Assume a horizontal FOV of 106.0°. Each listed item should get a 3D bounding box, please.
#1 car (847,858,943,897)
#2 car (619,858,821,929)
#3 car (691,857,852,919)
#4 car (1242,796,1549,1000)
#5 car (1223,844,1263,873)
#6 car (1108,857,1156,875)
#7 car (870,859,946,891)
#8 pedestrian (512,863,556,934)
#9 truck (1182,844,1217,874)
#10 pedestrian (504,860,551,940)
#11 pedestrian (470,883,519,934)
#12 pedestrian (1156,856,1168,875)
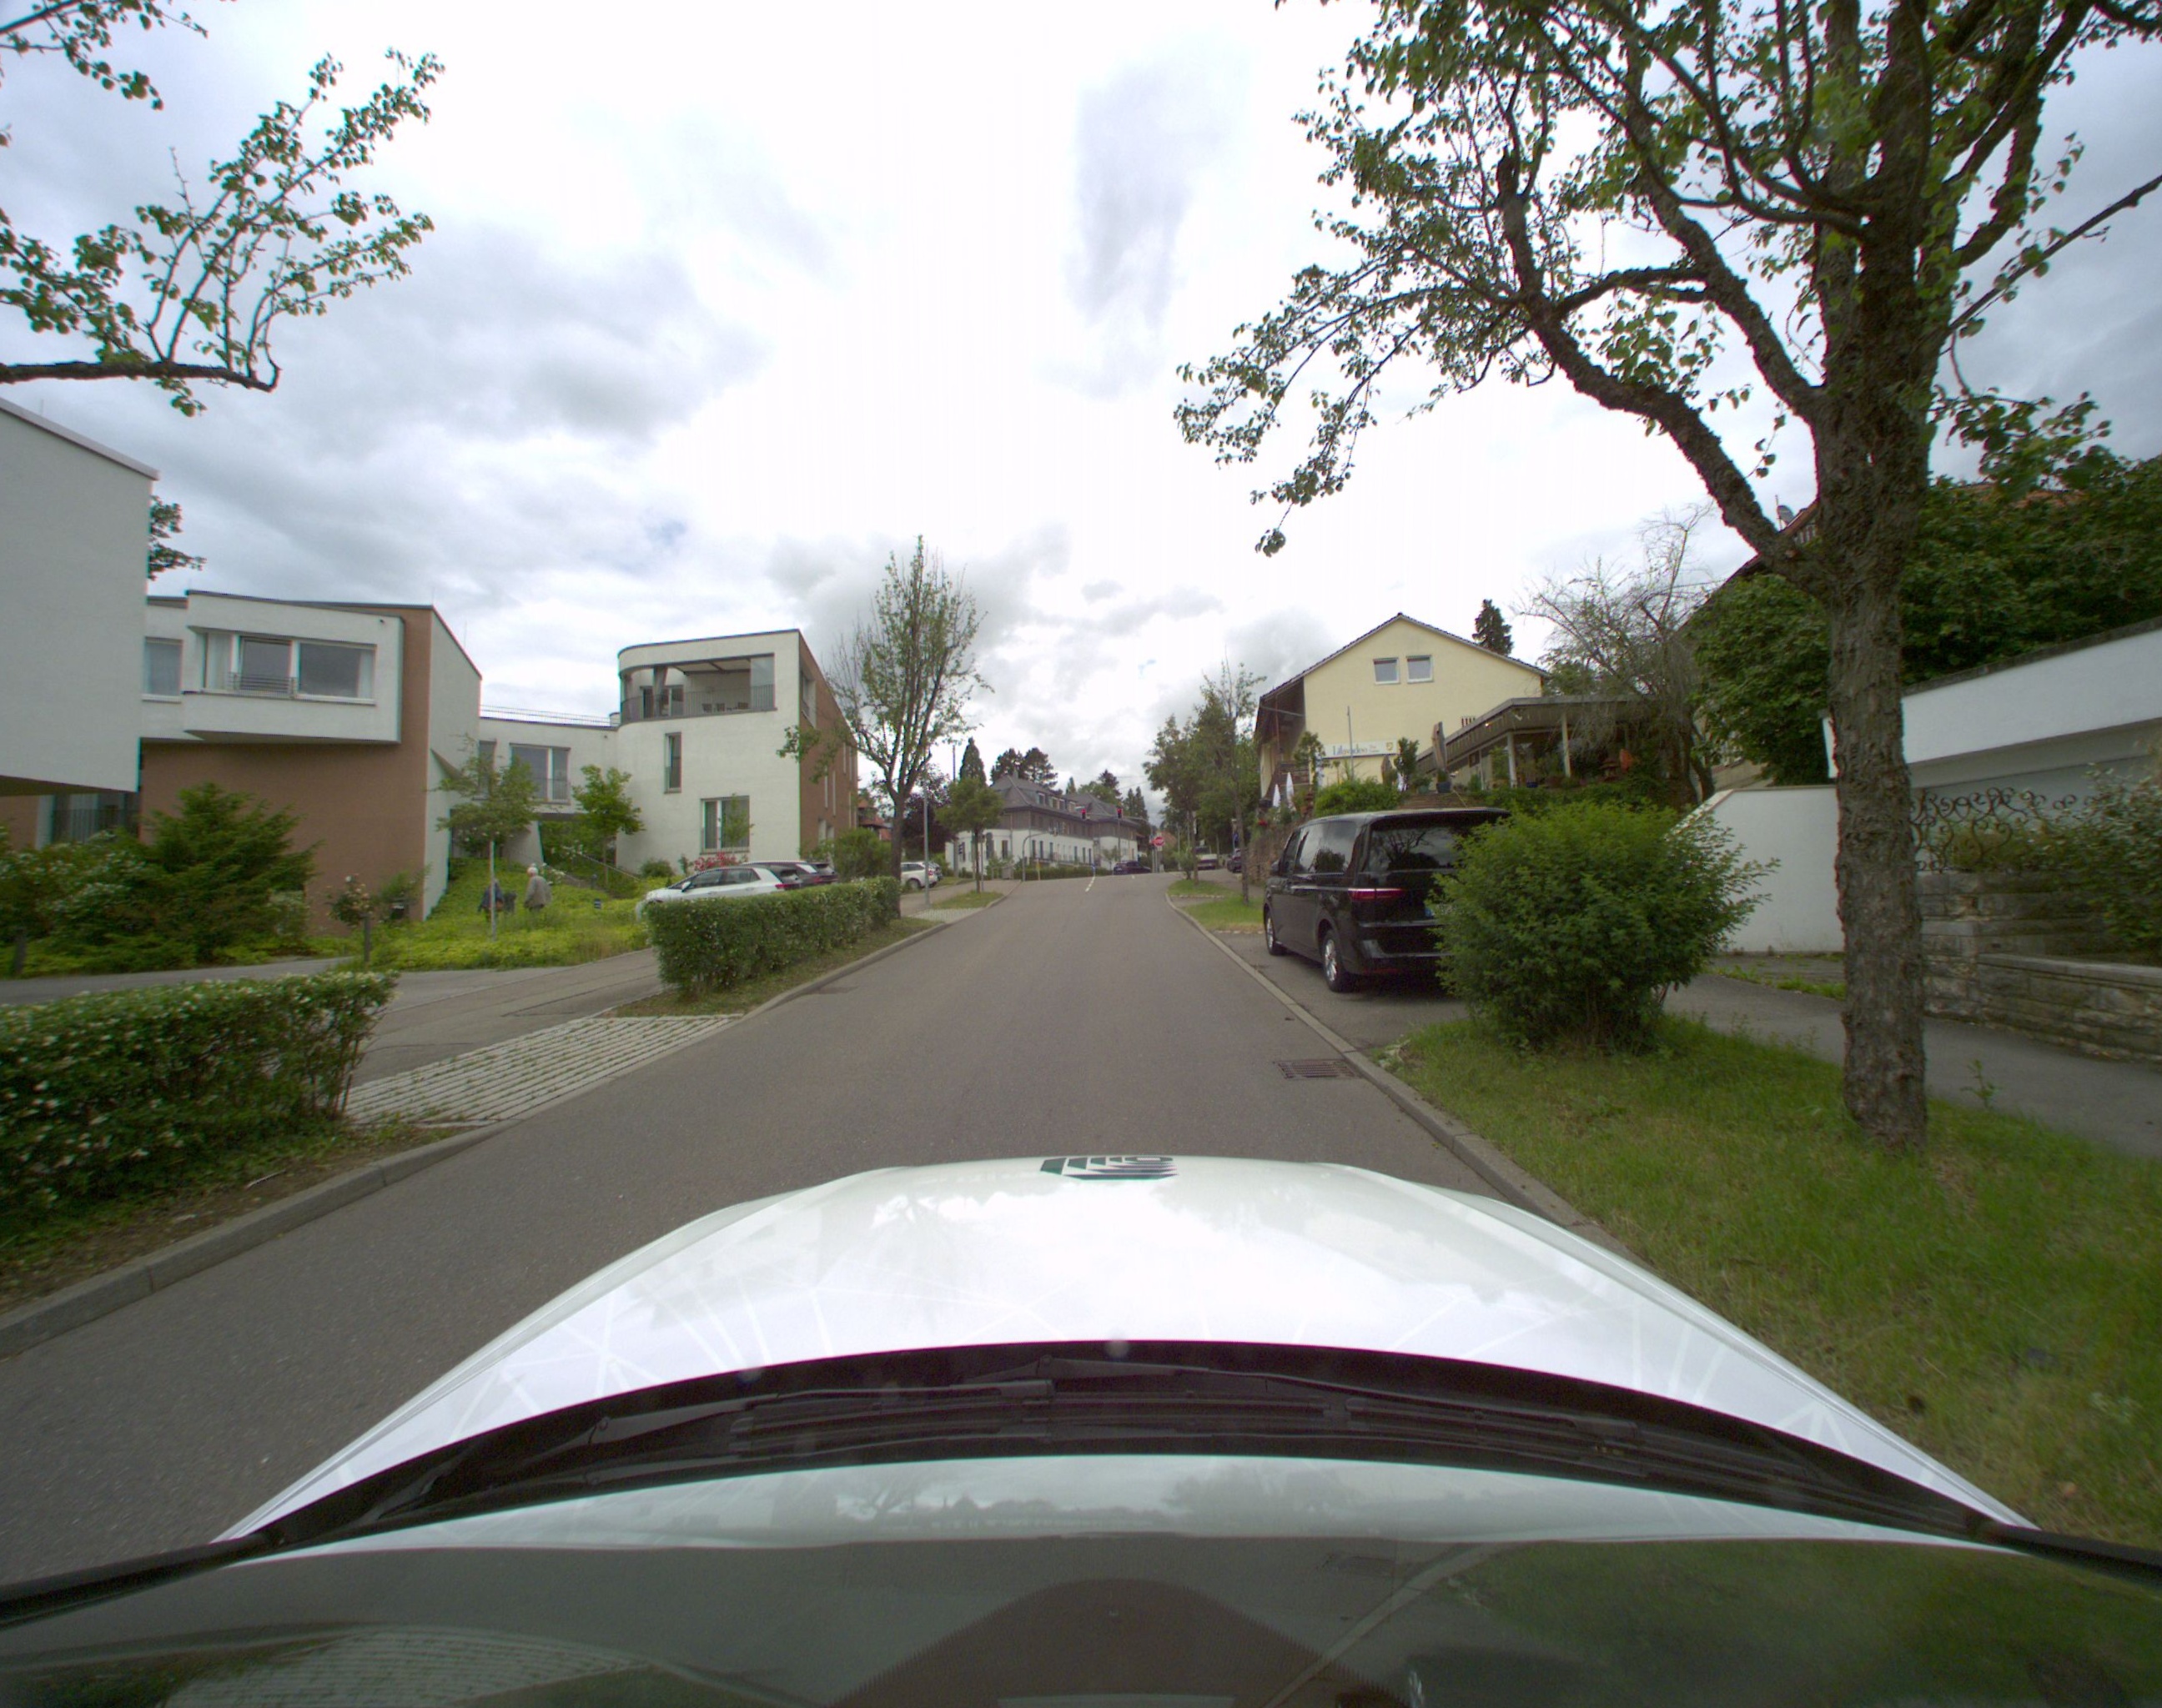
[{"bbox_3d":[-9.206,1.179,40.592,4.248,1.623,2.012,-3,-1,-2],"label":"car"},{"bbox_3d":[-9.515,1.001,21.752,4.373,1.566,2.066,-3,0,0],"label":"car"},{"bbox_3d":[-9.199,0.998,24.433,3.971,1.653,2.009,-2,0,2],"label":"car"},{"bbox_3d":[3.475,0.419,10.281,1.929,1.838,5.221,-2,0,2],"label":"car"},{"bbox_3d":[9.740,0.273,49.274,1.839,1.472,4.393,-5,-1,6],"label":"car"},{"bbox_3d":[5.063,1.176,80.897,4.740,1.491,2.134,-2,0,-45],"label":"car"},{"bbox_3d":[-9.444,1.151,44.683,3.753,1.464,1.729,-4,1,-5],"label":"car"},{"bbox_3d":[-13.056,1.059,19.452,0.591,1.640,0.566,-3,-1,2],"label":"pedestrian"},{"bbox_3d":[9.967,0.492,68.870,2.176,2.195,5.881,-2,-3,1],"label":"truck"},{"bbox_3d":[-11.979,0.989,17.630,0.586,1.682,0.520,-2,0,2],"label":"pedestrian"},{"bbox_3d":[-15.310,1.410,21.289,0.605,1.283,0.900,-1,0,1],"label":"pedestrian"},{"bbox_3d":[7.159,1.004,72.099,0.700,1.682,0.681,-2,-1,-21],"label":"pedestrian"}]
